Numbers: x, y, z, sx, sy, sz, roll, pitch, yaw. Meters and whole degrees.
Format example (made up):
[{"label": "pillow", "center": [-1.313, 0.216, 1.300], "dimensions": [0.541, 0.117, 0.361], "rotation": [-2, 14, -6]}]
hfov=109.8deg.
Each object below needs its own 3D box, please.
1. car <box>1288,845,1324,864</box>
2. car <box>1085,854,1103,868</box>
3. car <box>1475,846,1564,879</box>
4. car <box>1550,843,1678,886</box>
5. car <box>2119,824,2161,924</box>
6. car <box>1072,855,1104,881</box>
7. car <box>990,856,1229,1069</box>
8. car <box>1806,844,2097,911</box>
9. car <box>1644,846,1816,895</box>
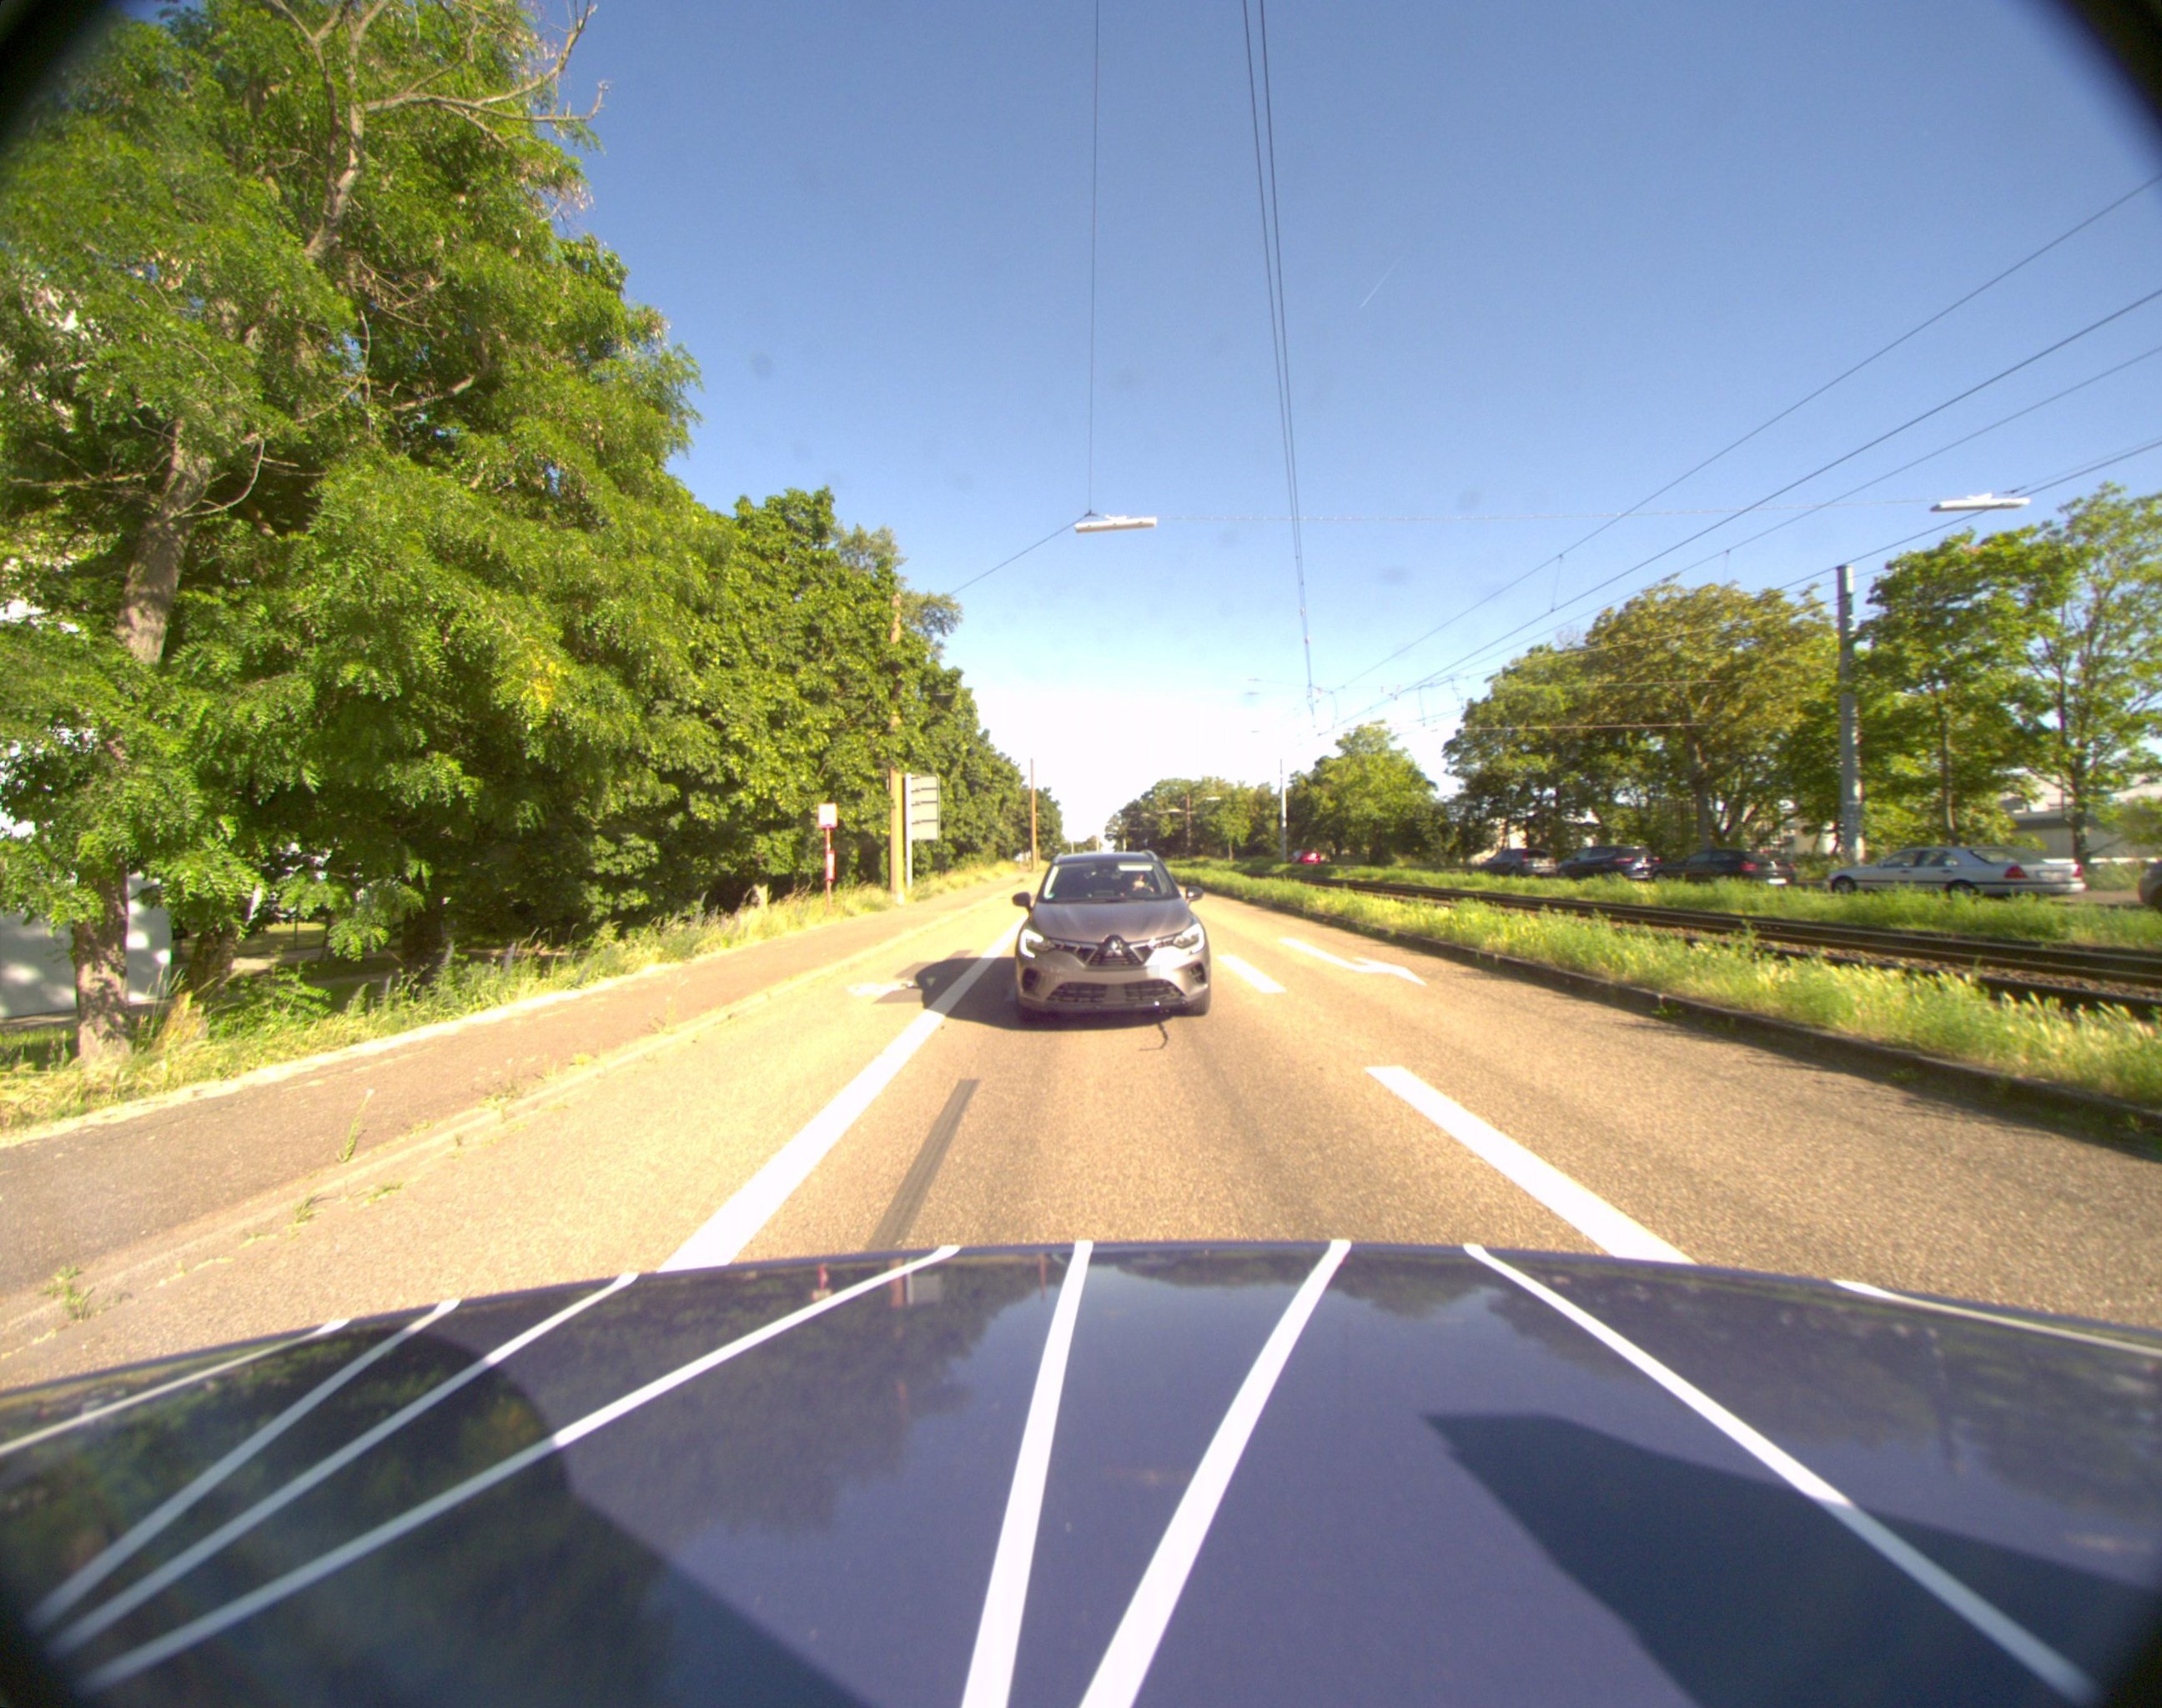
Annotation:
[{"label": "car", "center": [21.007, 0.070, 71.115], "dimensions": [2.009, 1.692, 4.466], "rotation": [-1, 0, -1]}, {"label": "car", "center": [1.582, 0.874, 97.381], "dimensions": [1.999, 1.577, 3.999], "rotation": [-2, 0, -3]}, {"label": "car", "center": [21.487, 0.381, 37.438], "dimensions": [1.740, 1.485, 4.327], "rotation": [-3, 0, -1]}, {"label": "car", "center": [21.378, 0.403, 30.730], "dimensions": [1.999, 1.565, 4.434], "rotation": [-1, 0, -1]}, {"label": "car", "center": [21.289, 0.340, 12.403], "dimensions": [2.202, 1.880, 4.792], "rotation": [-2, 0, 3]}, {"label": "car", "center": [0.417, 0.802, 45.940], "dimensions": [1.832, 1.477, 4.000], "rotation": [-1, 0, 1]}, {"label": "car", "center": [0.235, 0.863, 8.199], "dimensions": [1.822, 1.589, 4.413], "rotation": [-2, 0, 0]}, {"label": "car", "center": [21.403, 0.521, 19.068], "dimensions": [1.933, 1.429, 4.695], "rotation": [-1, 0, 1]}, {"label": "car", "center": [21.411, 0.507, 25.370], "dimensions": [1.998, 1.429, 4.415], "rotation": [-1, 0, 1]}]
